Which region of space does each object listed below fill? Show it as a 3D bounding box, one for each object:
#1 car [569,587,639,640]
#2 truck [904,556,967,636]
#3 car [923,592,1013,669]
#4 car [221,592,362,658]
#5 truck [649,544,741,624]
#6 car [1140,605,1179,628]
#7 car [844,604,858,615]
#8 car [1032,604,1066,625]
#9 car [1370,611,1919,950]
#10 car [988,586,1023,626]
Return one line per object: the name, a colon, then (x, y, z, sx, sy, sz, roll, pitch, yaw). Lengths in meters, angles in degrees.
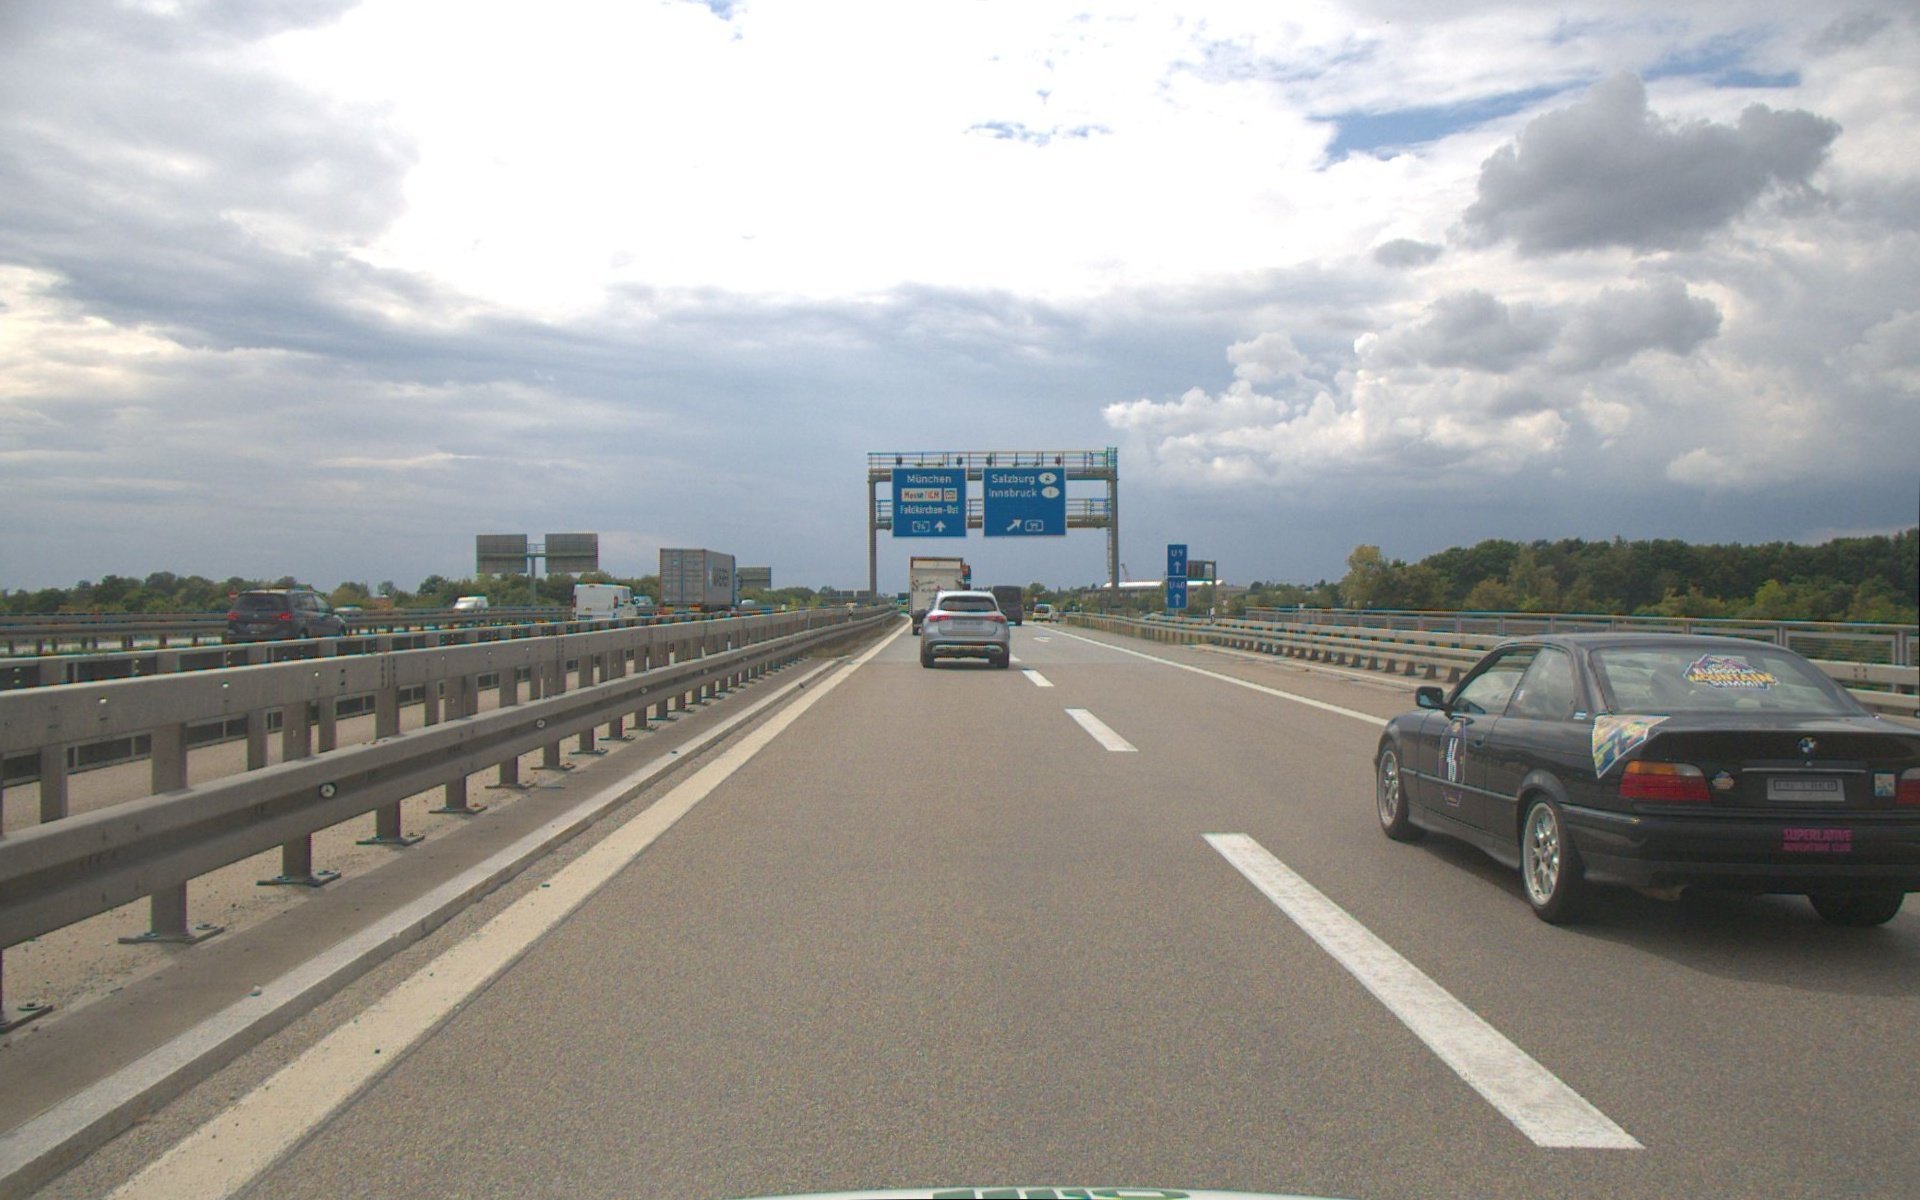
car: (-14.452, 0.508, 67.347, 1.953, 2.049, 4.374, 1, 1, -1)
truck: (-1.061, -0.118, 71.294, 2.516, 3.181, 8.632, 1, -1, -1)
car: (0.132, 0.627, 36.306, 1.783, 1.541, 3.998, 1, 1, -2)
car: (-17.332, 0.613, 43.131, 1.843, 1.573, 4.614, 1, 1, -1)
truck: (-14.958, -0.934, 94.650, 3.119, 4.089, 16.070, 1, 1, -2)
car: (20.245, 1.698, 167.667, 1.754, 2.048, 3.972, 4, 0, 44)
car: (-16.410, 1.402, 248.377, 1.790, 1.590, 4.000, 0, 1, 0)
car: (7.744, 1.266, 144.318, 1.952, 1.739, 4.002, 1, 1, 18)
car: (3.599, 0.767, 9.041, 1.669, 1.303, 4.366, 1, 1, 1)
car: (2.698, 0.315, 99.538, 1.868, 2.301, 4.648, 1, 1, -1)
